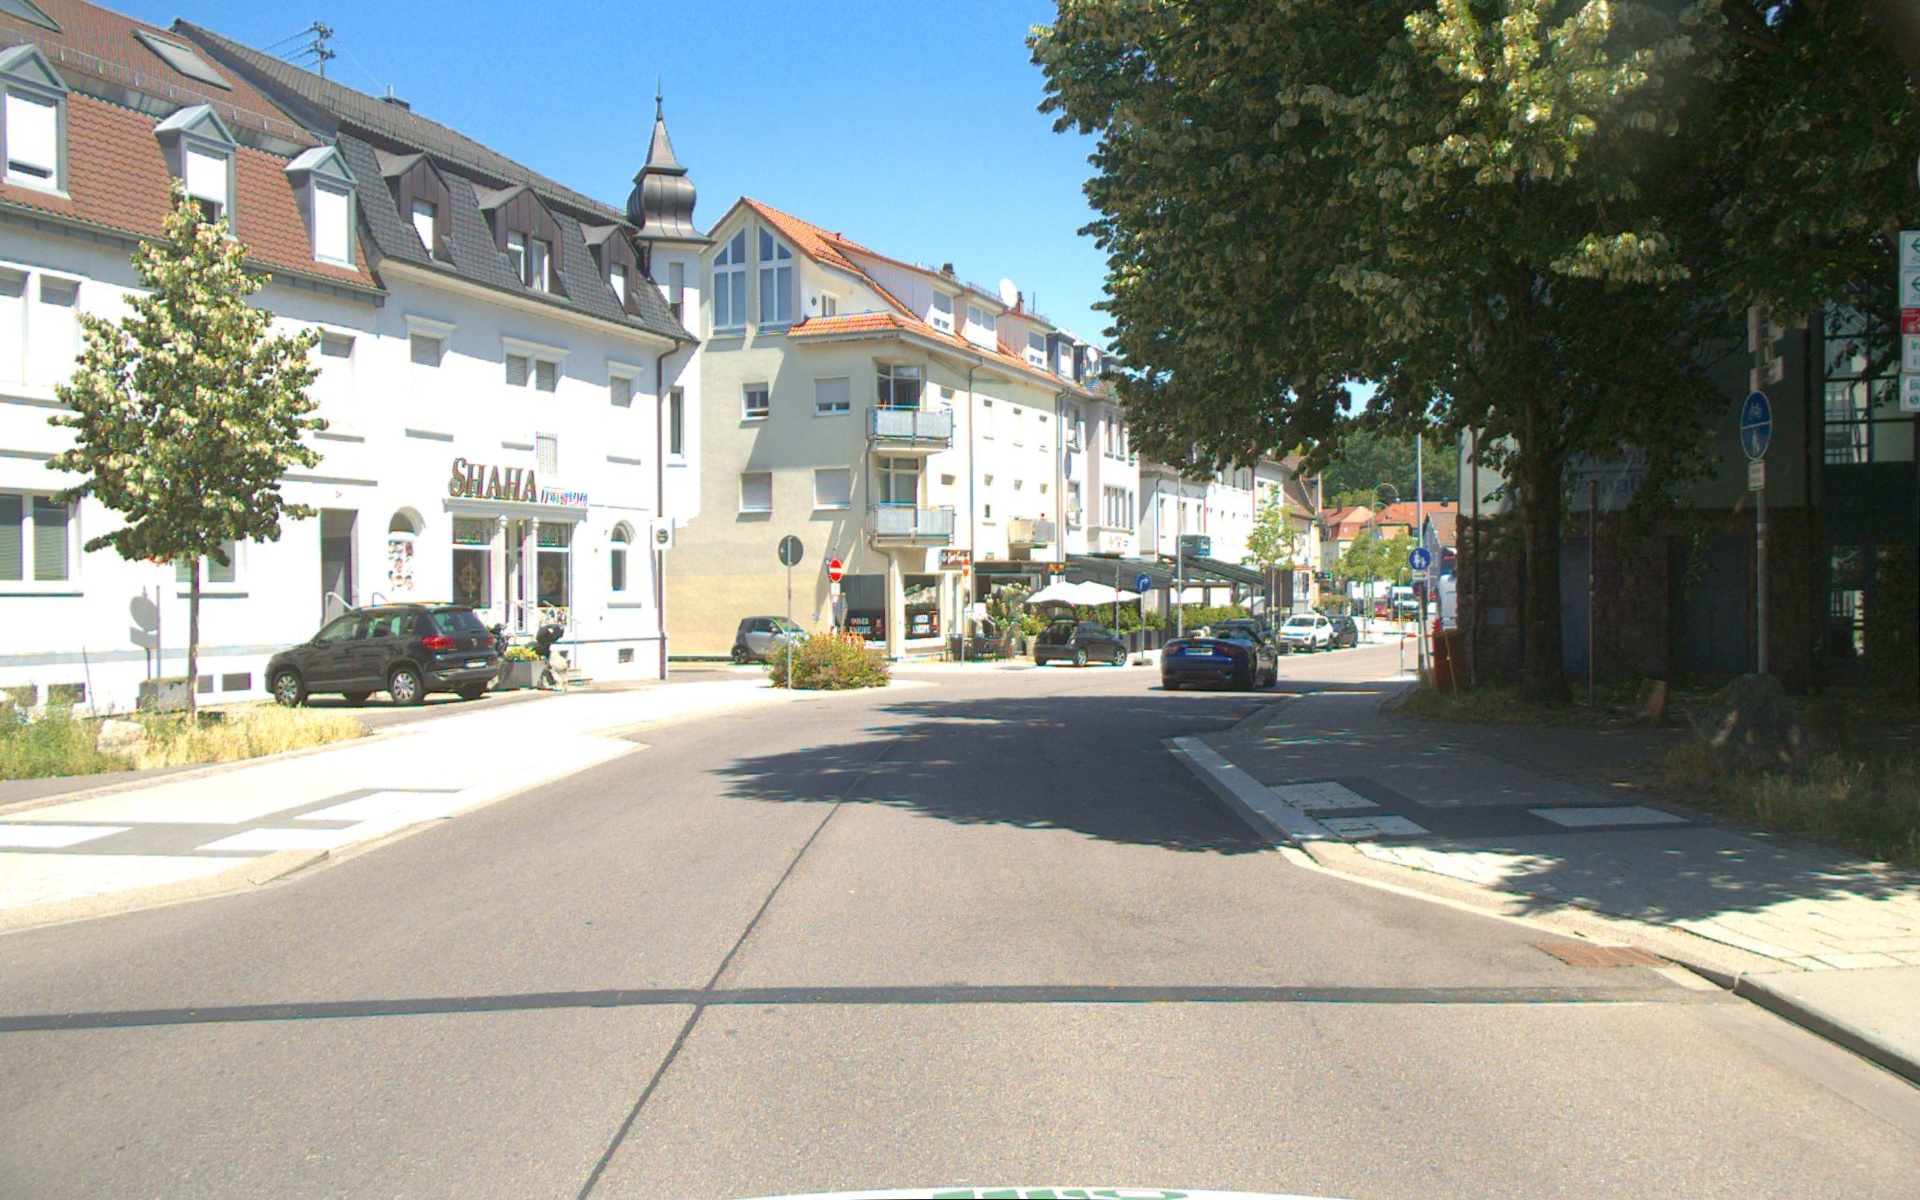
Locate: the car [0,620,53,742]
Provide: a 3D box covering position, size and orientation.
[{"bbox_3d":[-13.235,0.939,18.907,4.611,1.380,1.994,0,-1,-12],"label":"car"}]

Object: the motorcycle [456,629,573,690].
[{"bbox_3d":[-9.274,1.237,34.438,2.346,1.239,0.833,-1,-2,23],"label":"motorcycle"}]

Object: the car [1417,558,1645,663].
[{"bbox_3d":[15.972,0.312,46.331,5.822,2.780,2.195,-1,-1,25],"label":"car"}]

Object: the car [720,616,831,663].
[{"bbox_3d":[-6.069,1.285,54.482,3.195,1.484,1.692,-1,0,21],"label":"car"}]

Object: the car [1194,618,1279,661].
[{"bbox_3d":[10.447,1.441,62.230,1.799,1.454,4.777,1,1,27],"label":"car"}]

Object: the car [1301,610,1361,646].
[{"bbox_3d":[16.555,1.227,73.655,1.638,1.469,4.005,-1,0,27],"label":"car"}]

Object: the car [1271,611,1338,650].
[{"bbox_3d":[14.377,1.251,68.853,1.614,1.505,3.933,1,1,30],"label":"car"}]

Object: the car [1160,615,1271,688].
[{"bbox_3d":[5.475,1.042,34.989,1.831,1.365,4.599,1,0,15],"label":"car"}]

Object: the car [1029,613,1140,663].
[{"bbox_3d":[4.052,1.224,53.281,1.683,1.486,4.115,2,0,35],"label":"car"}]

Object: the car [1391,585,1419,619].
[{"bbox_3d":[32.822,0.119,122.070,1.827,2.443,4.822,-1,0,14],"label":"car"}]

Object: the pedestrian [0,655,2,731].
[{"bbox_3d":[-14.279,1.014,23.597,0.719,1.785,0.739,-3,-1,6],"label":"pedestrian"}]

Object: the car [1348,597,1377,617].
[{"bbox_3d":[34.953,0.592,143.661,1.951,1.722,4.003,0,0,5],"label":"car"}]

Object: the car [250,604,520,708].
[{"bbox_3d":[-9.917,0.943,28.561,4.094,1.691,1.971,-1,-1,21],"label":"car"}]

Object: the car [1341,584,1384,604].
[{"bbox_3d":[44.524,-0.665,182.950,4.193,2.049,1.989,1,-2,-19],"label":"car"}]

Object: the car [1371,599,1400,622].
[{"bbox_3d":[33.769,0.821,131.286,1.951,1.769,4.003,-1,-1,12],"label":"car"}]
